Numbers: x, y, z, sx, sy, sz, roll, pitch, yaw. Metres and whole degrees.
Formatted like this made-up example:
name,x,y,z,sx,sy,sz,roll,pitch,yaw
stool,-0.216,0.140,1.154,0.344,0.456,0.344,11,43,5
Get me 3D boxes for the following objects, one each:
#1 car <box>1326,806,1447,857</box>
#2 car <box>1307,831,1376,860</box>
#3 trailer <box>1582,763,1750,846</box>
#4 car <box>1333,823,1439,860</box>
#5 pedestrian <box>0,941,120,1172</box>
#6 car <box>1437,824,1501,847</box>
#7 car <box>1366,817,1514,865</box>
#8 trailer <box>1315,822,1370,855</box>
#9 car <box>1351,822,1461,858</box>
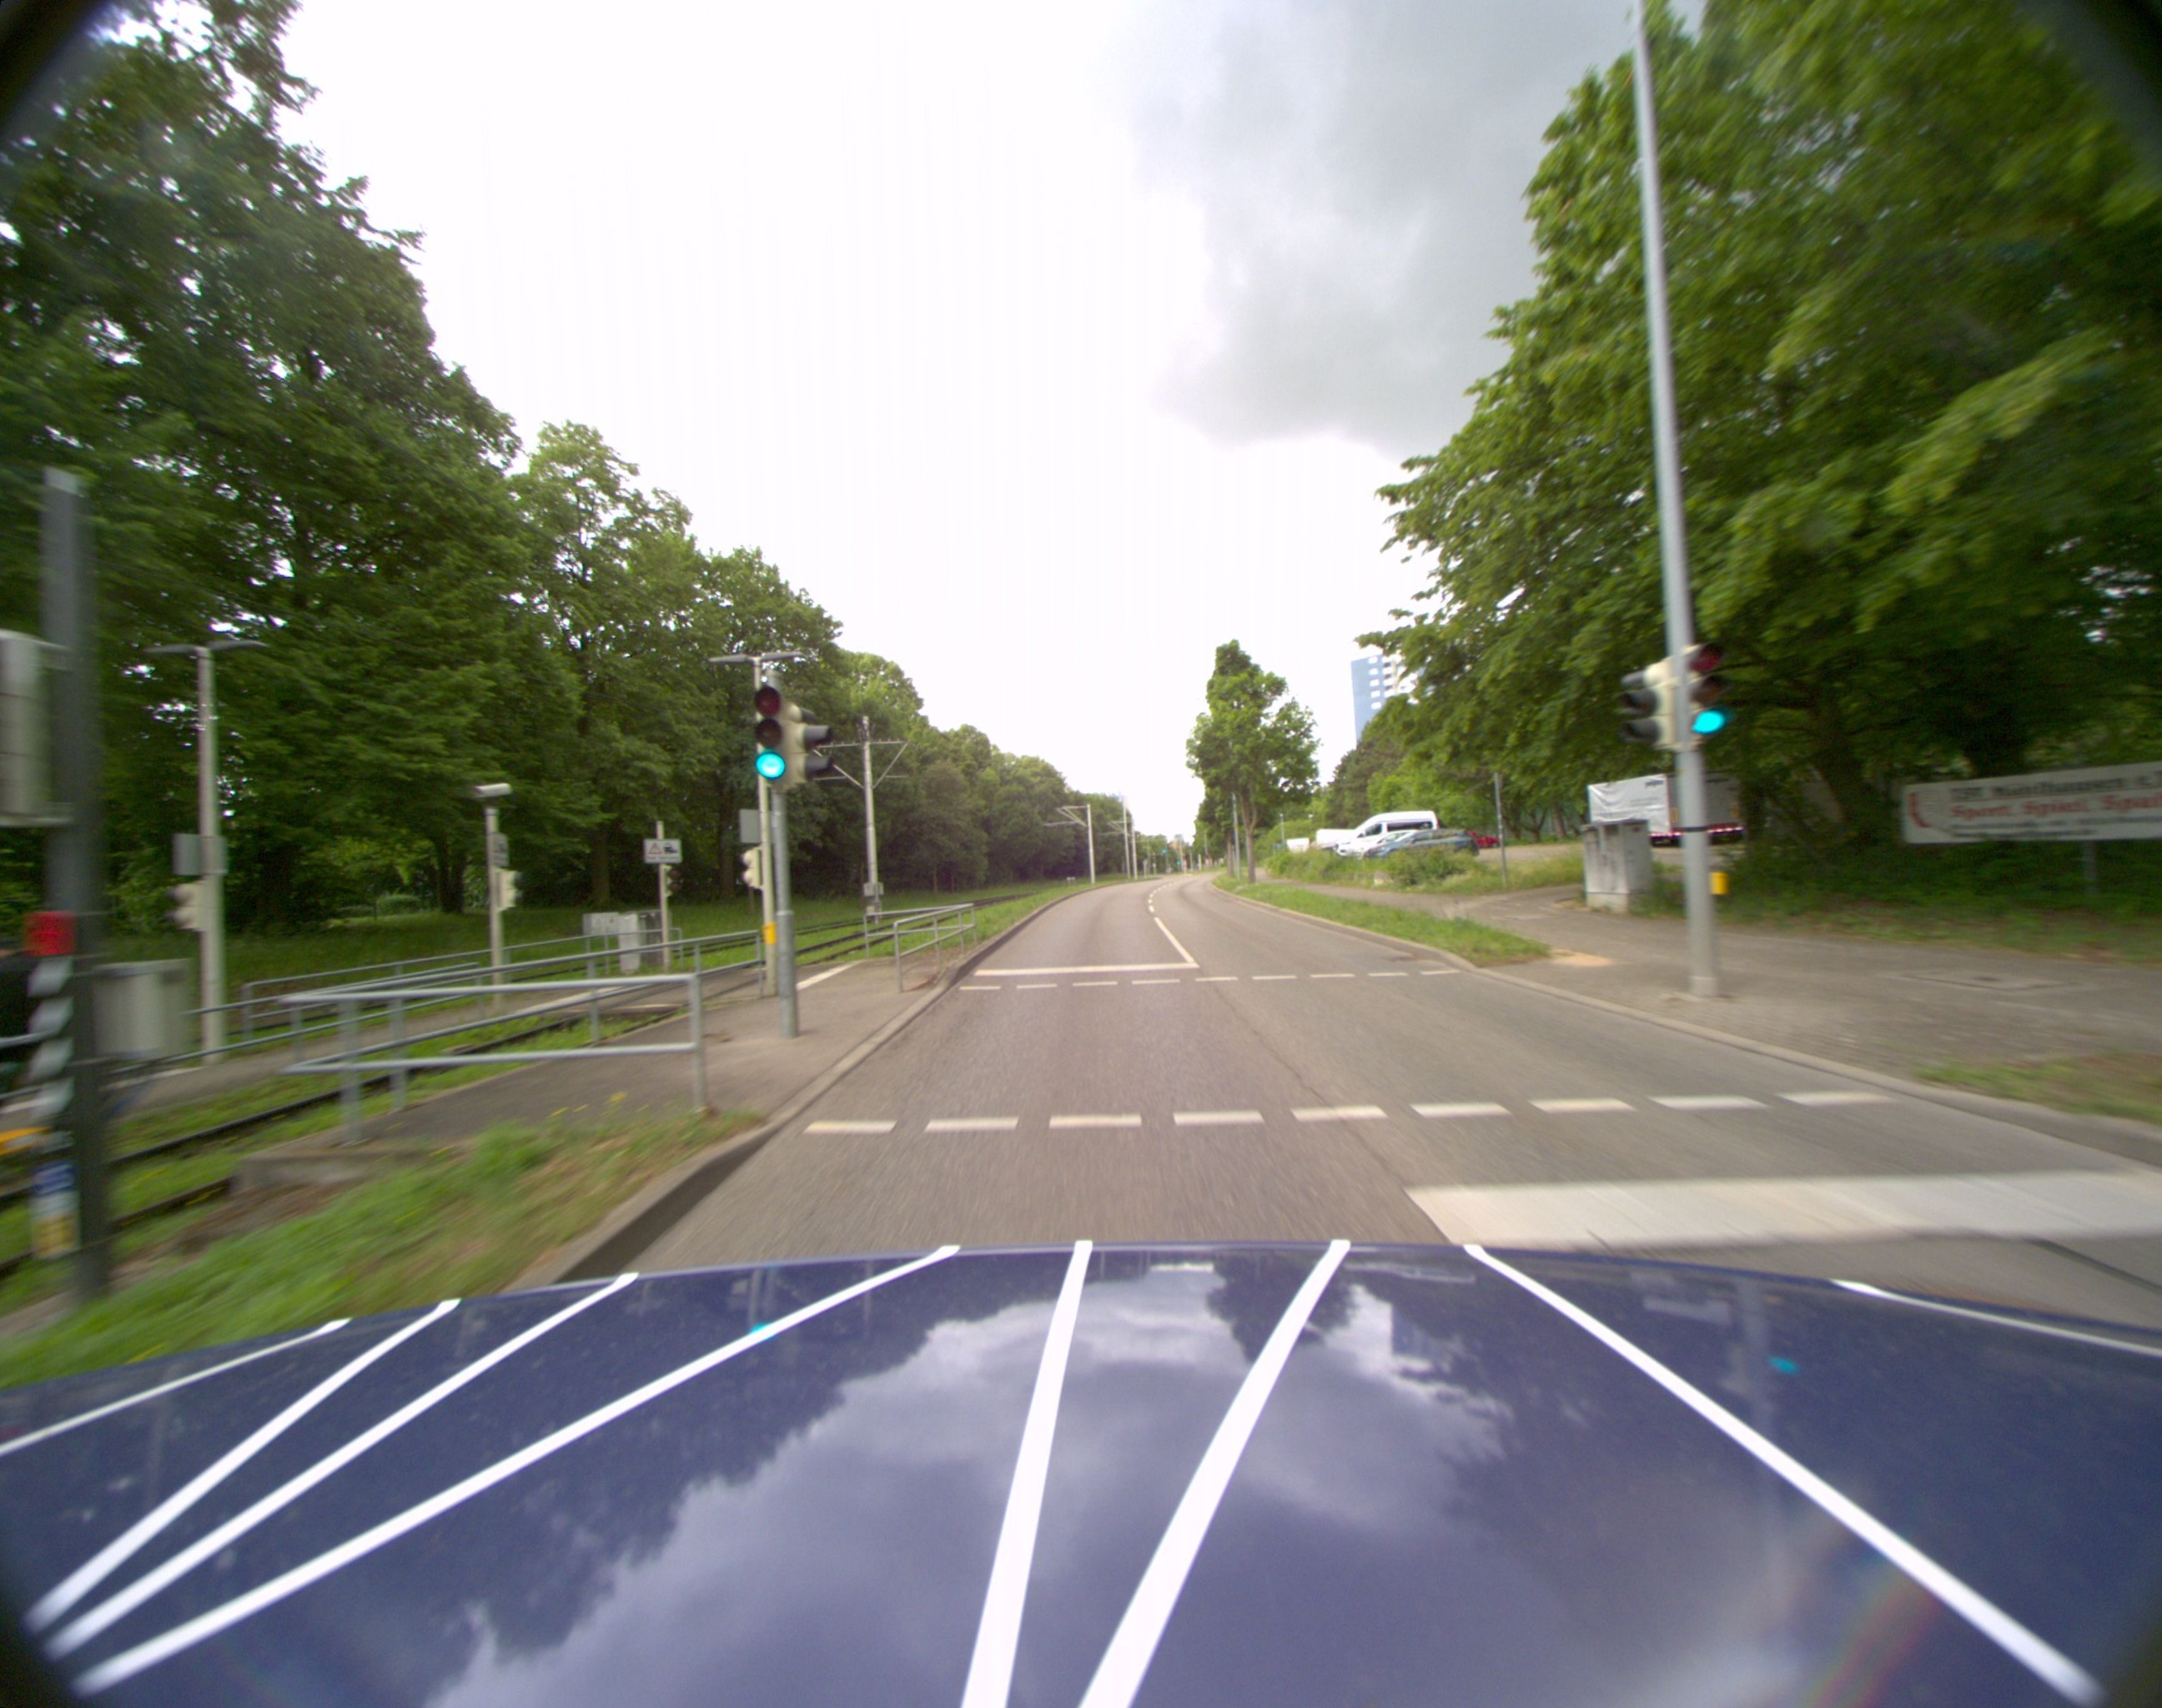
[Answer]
name,x,y,z,sx,sy,sz,roll,pitch,yaw
car,15.347,-1.102,38.480,5.166,2.094,2.216,-4,-1,9
car,17.257,-0.519,50.504,4.041,1.574,2.002,-4,-1,13
trailer,25.458,-2.002,33.589,2.653,3.056,7.200,-4,0,10
car,16.590,-0.649,41.596,5.002,1.538,2.100,-4,-1,13
pedestrian,-8.986,1.665,6.286,0.987,1.747,0.729,-4,0,-7
car,31.006,-1.472,60.814,4.107,1.408,1.904,-4,-1,13
car,14.824,-0.500,31.627,5.166,1.552,1.887,-4,-1,9
trailer,18.162,-1.055,52.883,3.371,2.045,1.680,-3,-1,14
car,15.015,-0.616,35.307,4.386,1.308,1.564,-4,-1,9
